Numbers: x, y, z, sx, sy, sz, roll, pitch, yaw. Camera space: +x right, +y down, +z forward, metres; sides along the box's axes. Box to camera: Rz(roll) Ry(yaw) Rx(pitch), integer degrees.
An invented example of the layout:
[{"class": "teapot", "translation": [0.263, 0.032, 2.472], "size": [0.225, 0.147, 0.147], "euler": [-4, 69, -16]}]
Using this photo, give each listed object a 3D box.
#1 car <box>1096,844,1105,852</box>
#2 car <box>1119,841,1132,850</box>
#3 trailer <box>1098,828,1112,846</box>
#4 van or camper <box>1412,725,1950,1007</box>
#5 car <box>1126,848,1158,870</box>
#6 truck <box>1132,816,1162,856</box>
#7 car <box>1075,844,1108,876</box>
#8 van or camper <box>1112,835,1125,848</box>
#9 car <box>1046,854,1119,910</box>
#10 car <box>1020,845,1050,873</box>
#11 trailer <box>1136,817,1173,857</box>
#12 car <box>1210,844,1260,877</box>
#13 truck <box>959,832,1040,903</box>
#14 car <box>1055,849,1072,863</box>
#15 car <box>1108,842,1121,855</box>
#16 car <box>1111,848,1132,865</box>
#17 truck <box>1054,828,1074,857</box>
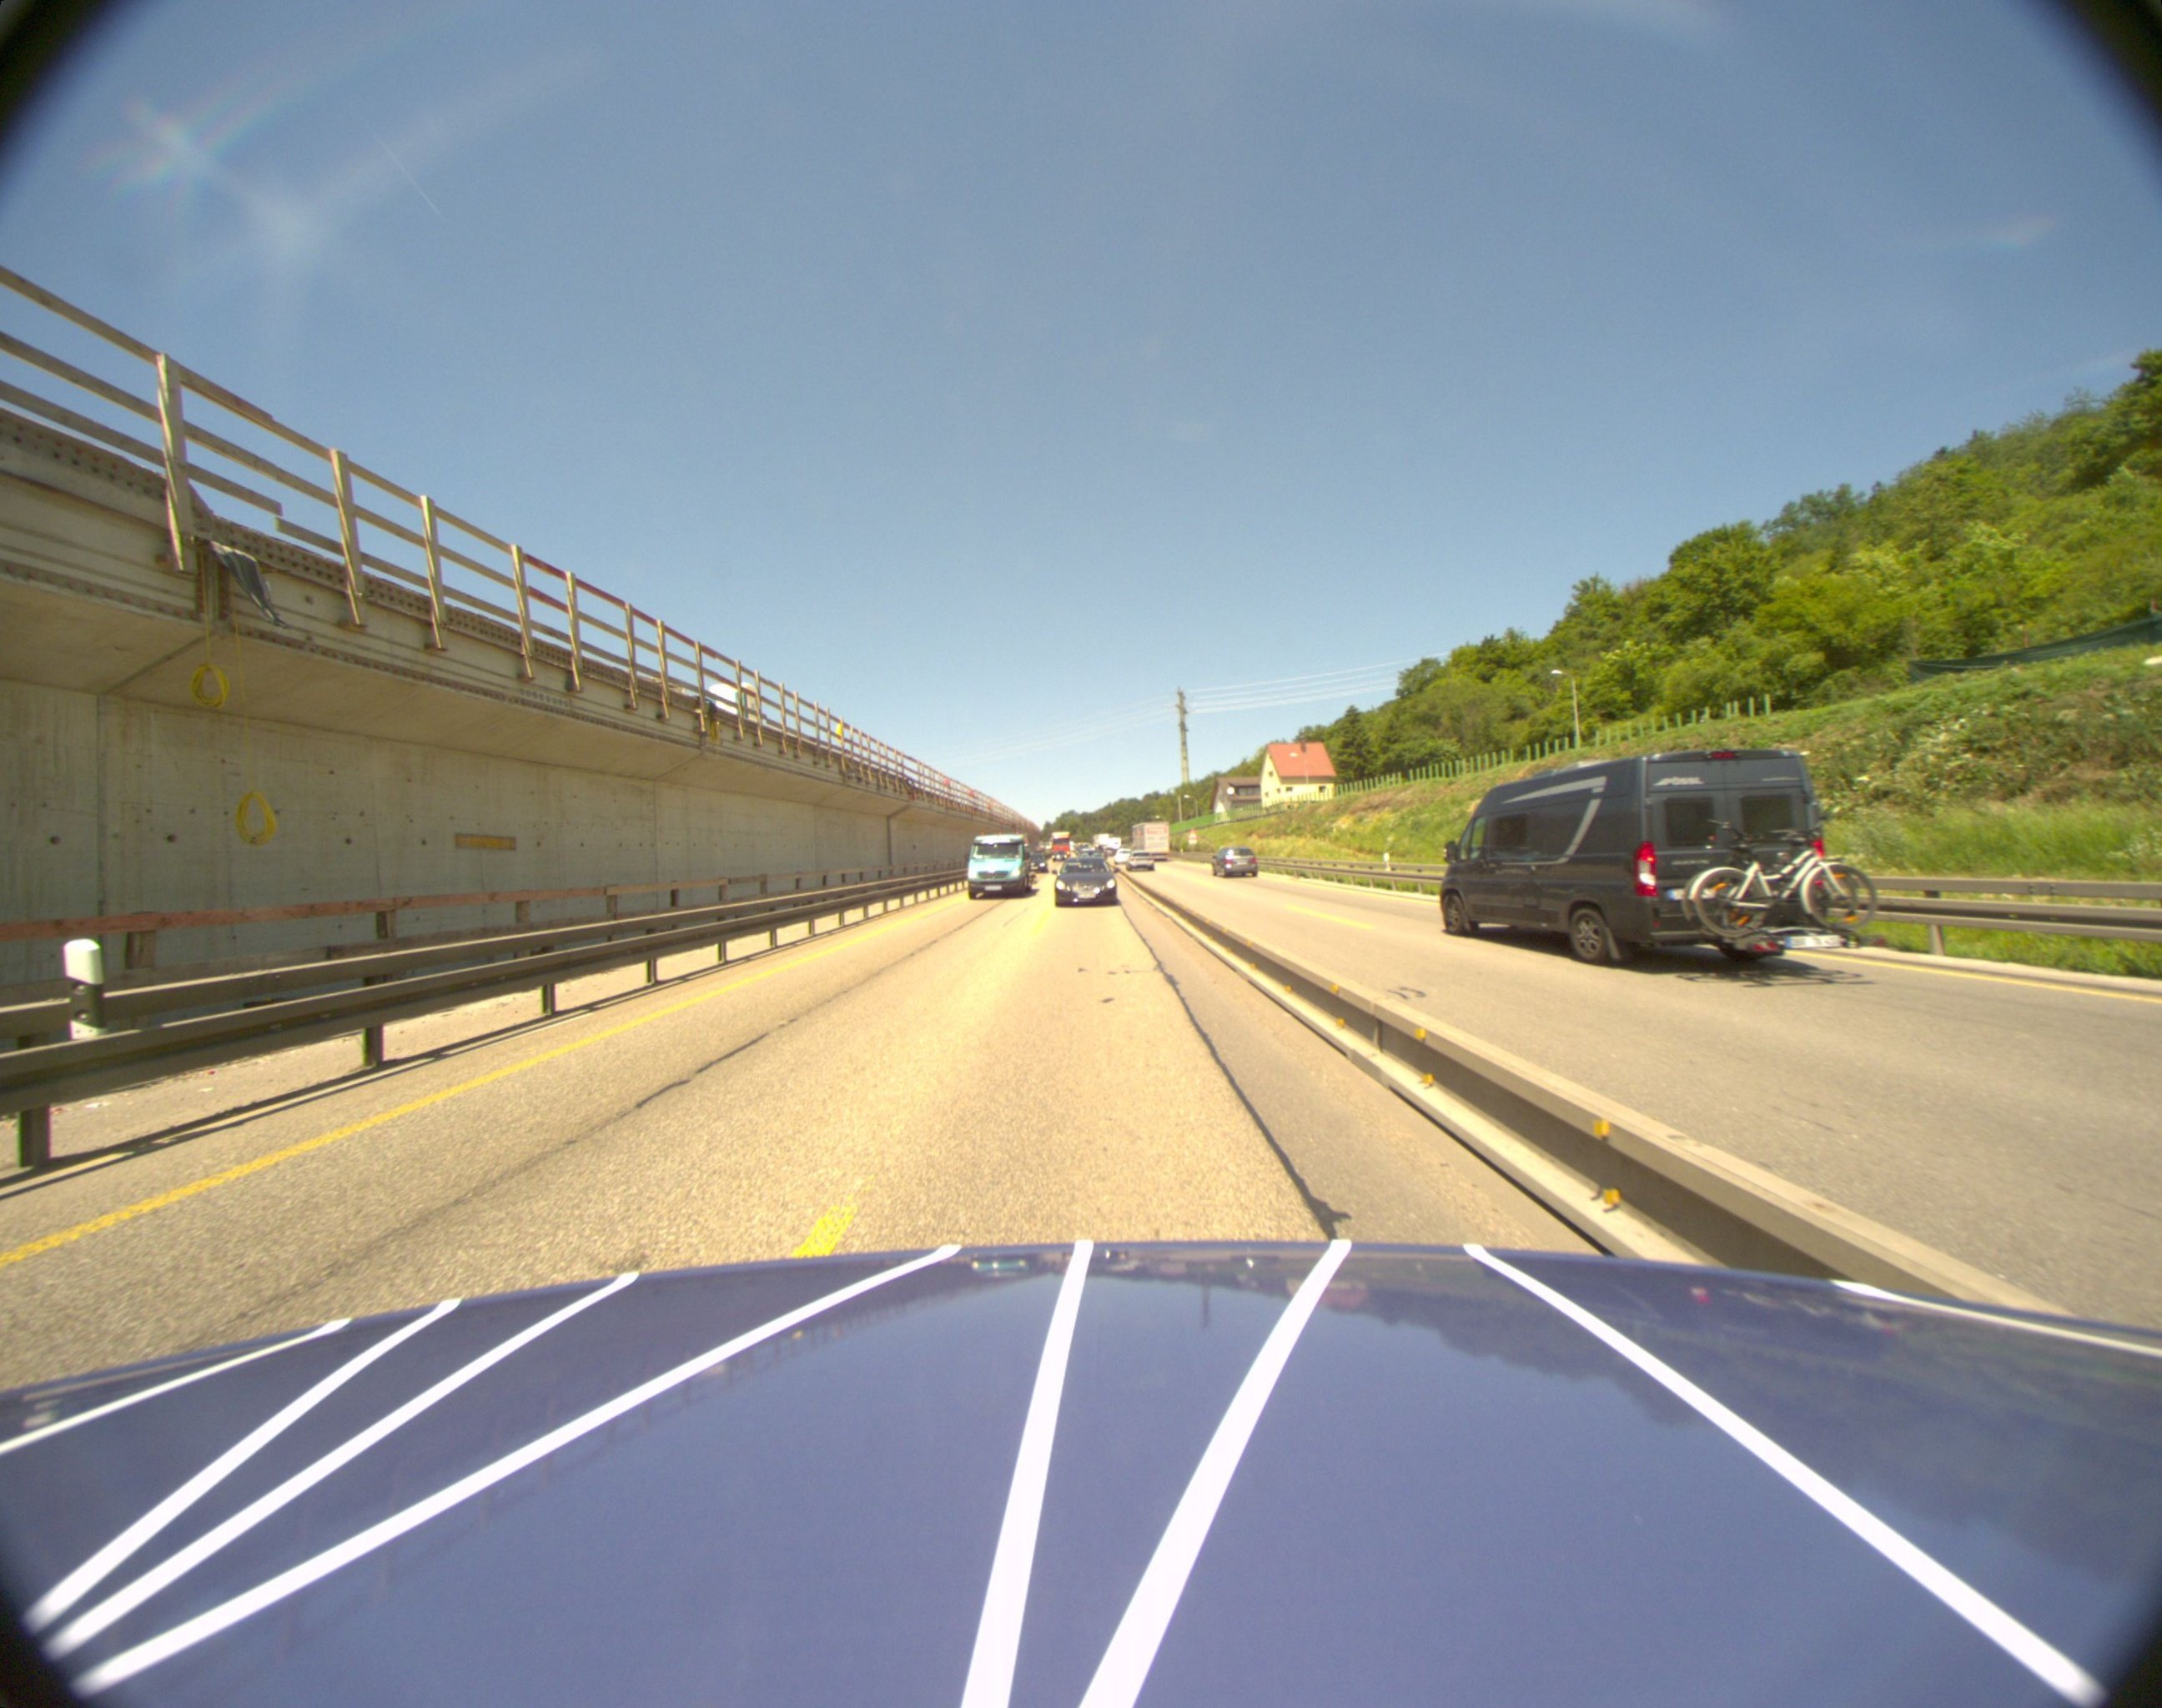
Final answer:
[{"class": "car", "translation": [3.940, -1.192, 153.163], "size": [1.875, 1.674, 4.000], "euler": [-1, 1, 1]}, {"class": "car", "translation": [7.830, -1.495, 133.461], "size": [1.998, 1.499, 5.299], "euler": [-2, 1, 1]}, {"class": "trailer", "translation": [6.355, -4.488, 200.680], "size": [3.111, 4.417, 14.625], "euler": [-2, 1, 0]}, {"class": "van or camper", "translation": [7.051, 0.095, 10.388], "size": [2.145, 2.558, 6.564], "euler": [-2, 0, 0]}, {"class": "car", "translation": [4.253, 0.330, 53.608], "size": [1.834, 1.425, 4.629], "euler": [-1, 0, 0]}, {"class": "truck", "translation": [7.822, -2.082, 90.968], "size": [2.627, 4.371, 10.383], "euler": [-2, 1, 0]}, {"class": "car", "translation": [0.687, 0.302, 47.259], "size": [1.884, 1.805, 4.250], "euler": [-2, 1, 2]}, {"class": "van or camper", "translation": [7.871, -2.603, 160.674], "size": [2.356, 2.619, 6.901], "euler": [-2, 1, 1]}, {"class": "car", "translation": [0.080, 0.794, 23.576], "size": [1.998, 1.441, 4.601], "euler": [-2, 1, 1]}, {"class": "car", "translation": [-3.313, 0.339, 55.274], "size": [1.885, 1.805, 4.249], "euler": [-2, 1, 0]}, {"class": "trailer", "translation": [7.791, -1.751, 81.458], "size": [2.937, 3.966, 8.704], "euler": [-2, 1, -1]}, {"class": "car", "translation": [8.101, 0.312, 40.287], "size": [1.777, 1.573, 4.285], "euler": [-3, 1, 0]}, {"class": "truck", "translation": [-2.974, 0.362, 29.560], "size": [2.139, 2.344, 7.431], "euler": [-2, 1, 1]}, {"class": "car", "translation": [-2.187, 0.247, 96.247], "size": [1.883, 1.532, 4.280], "euler": [-2, 1, 0]}, {"class": "car", "translation": [5.221, -0.903, 119.545], "size": [1.854, 1.879, 4.501], "euler": [-2, 1, 1]}, {"class": "car", "translation": [3.887, 0.222, 73.358], "size": [1.807, 1.455, 3.999], "euler": [-2, 1, 0]}, {"class": "truck", "translation": [-2.558, -1.790, 117.386], "size": [2.750, 4.222, 9.092], "euler": [-2, 1, 0]}]
